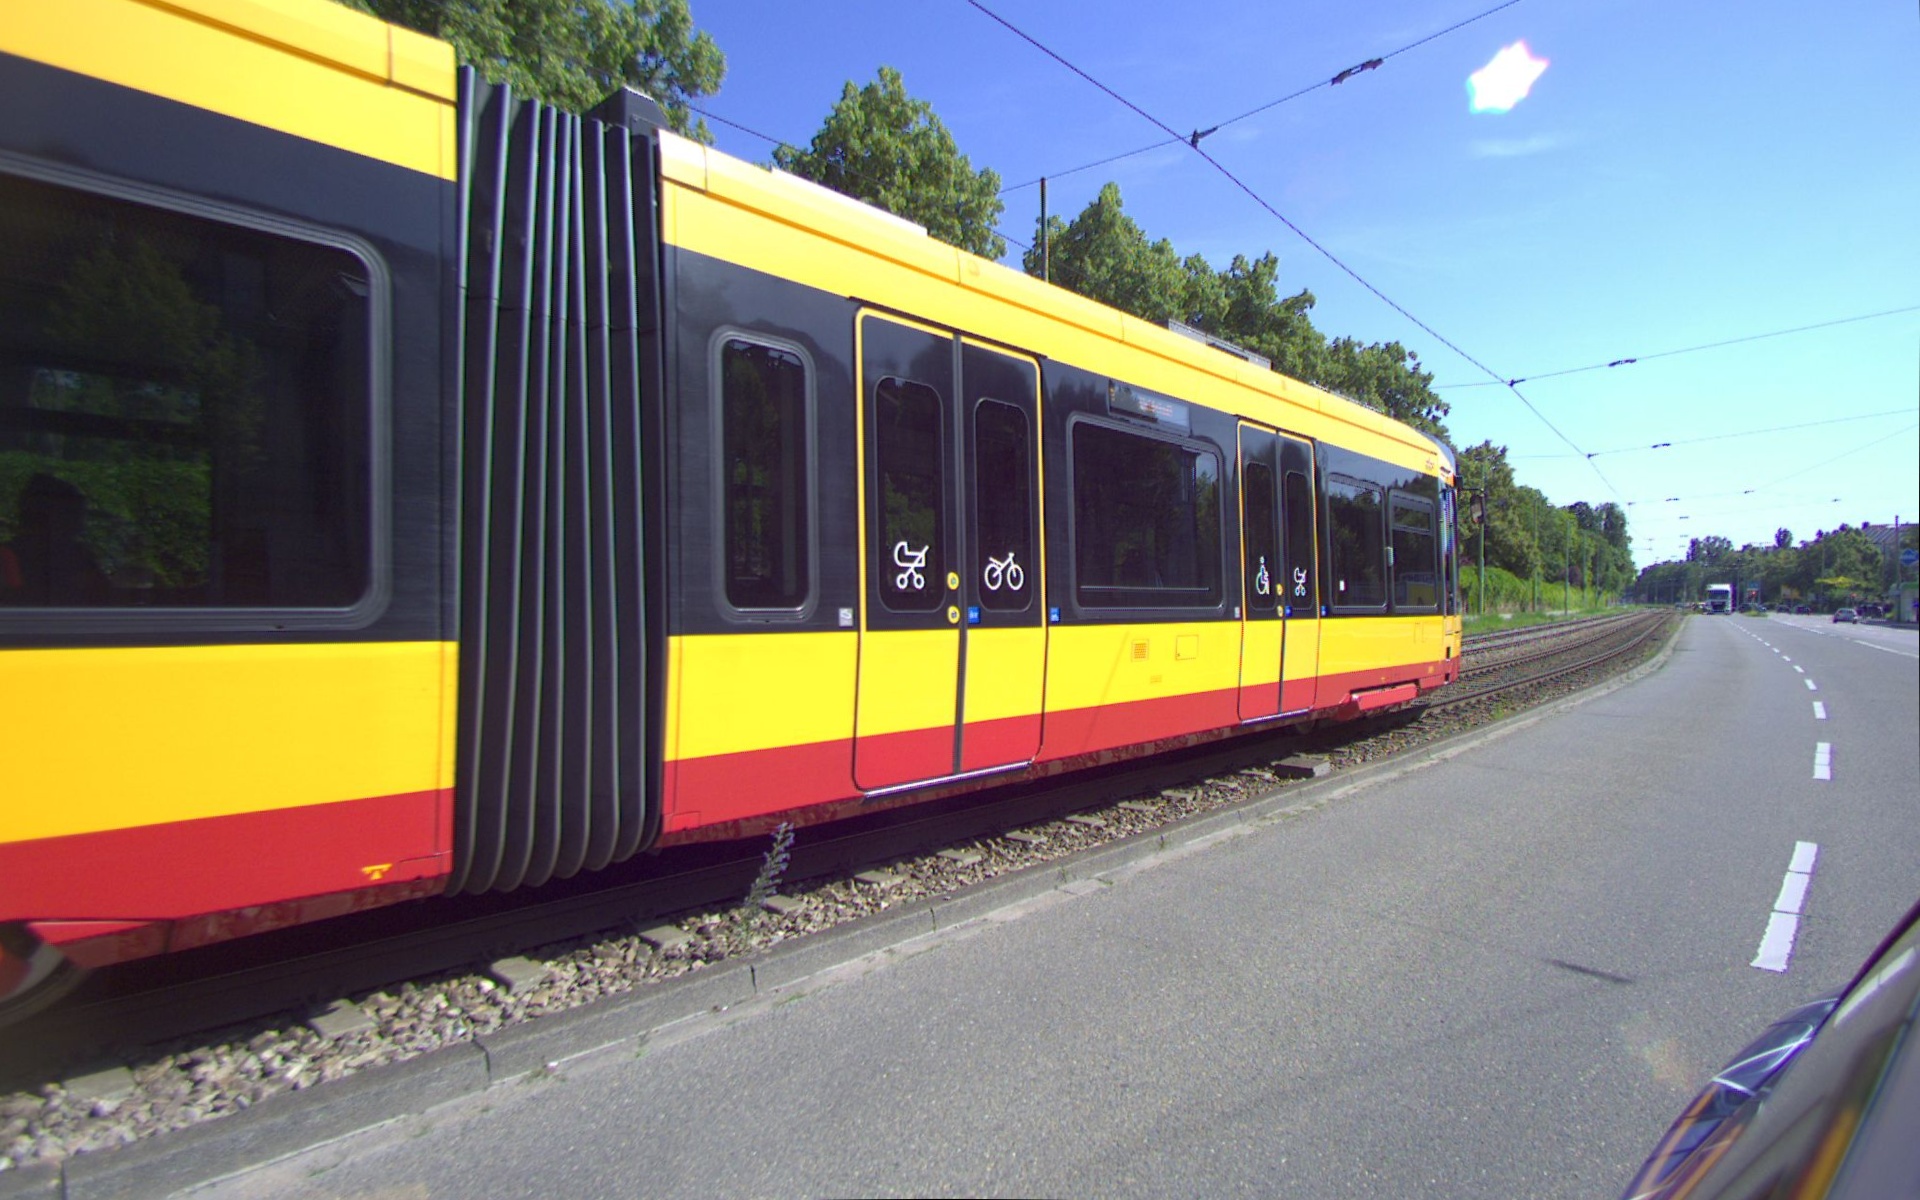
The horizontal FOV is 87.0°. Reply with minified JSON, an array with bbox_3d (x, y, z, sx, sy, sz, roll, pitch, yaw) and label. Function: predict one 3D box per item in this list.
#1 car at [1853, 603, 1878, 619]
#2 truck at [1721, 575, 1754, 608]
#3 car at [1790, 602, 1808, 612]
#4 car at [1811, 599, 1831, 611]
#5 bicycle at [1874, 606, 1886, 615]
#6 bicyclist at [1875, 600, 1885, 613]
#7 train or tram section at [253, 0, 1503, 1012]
[{"bbox_3d":[86.461,1.054,96.658,1.657,1.438,4.246,2,2,40],"label":"car"},{"bbox_3d":[102.585,-1.088,133.500,2.842,4.057,14.096,2,1,40],"label":"truck"},{"bbox_3d":[143.609,1.176,173.234,1.813,1.693,3.953,1,-1,32],"label":"car"},{"bbox_3d":[134.975,0.810,158.737,1.813,1.693,3.953,1,-1,32],"label":"car"},{"bbox_3d":[116.710,1.342,128.411,0.936,1.190,2.180,1,1,39],"label":"bicycle"},{"bbox_3d":[116.622,0.845,128.300,0.833,1.696,0.816,0,-2,37],"label":"bicyclist"},{"bbox_3d":[1.690,-0.498,9.215,2.511,3.794,13.104,1,1,43],"label":"train or tram section"}]
